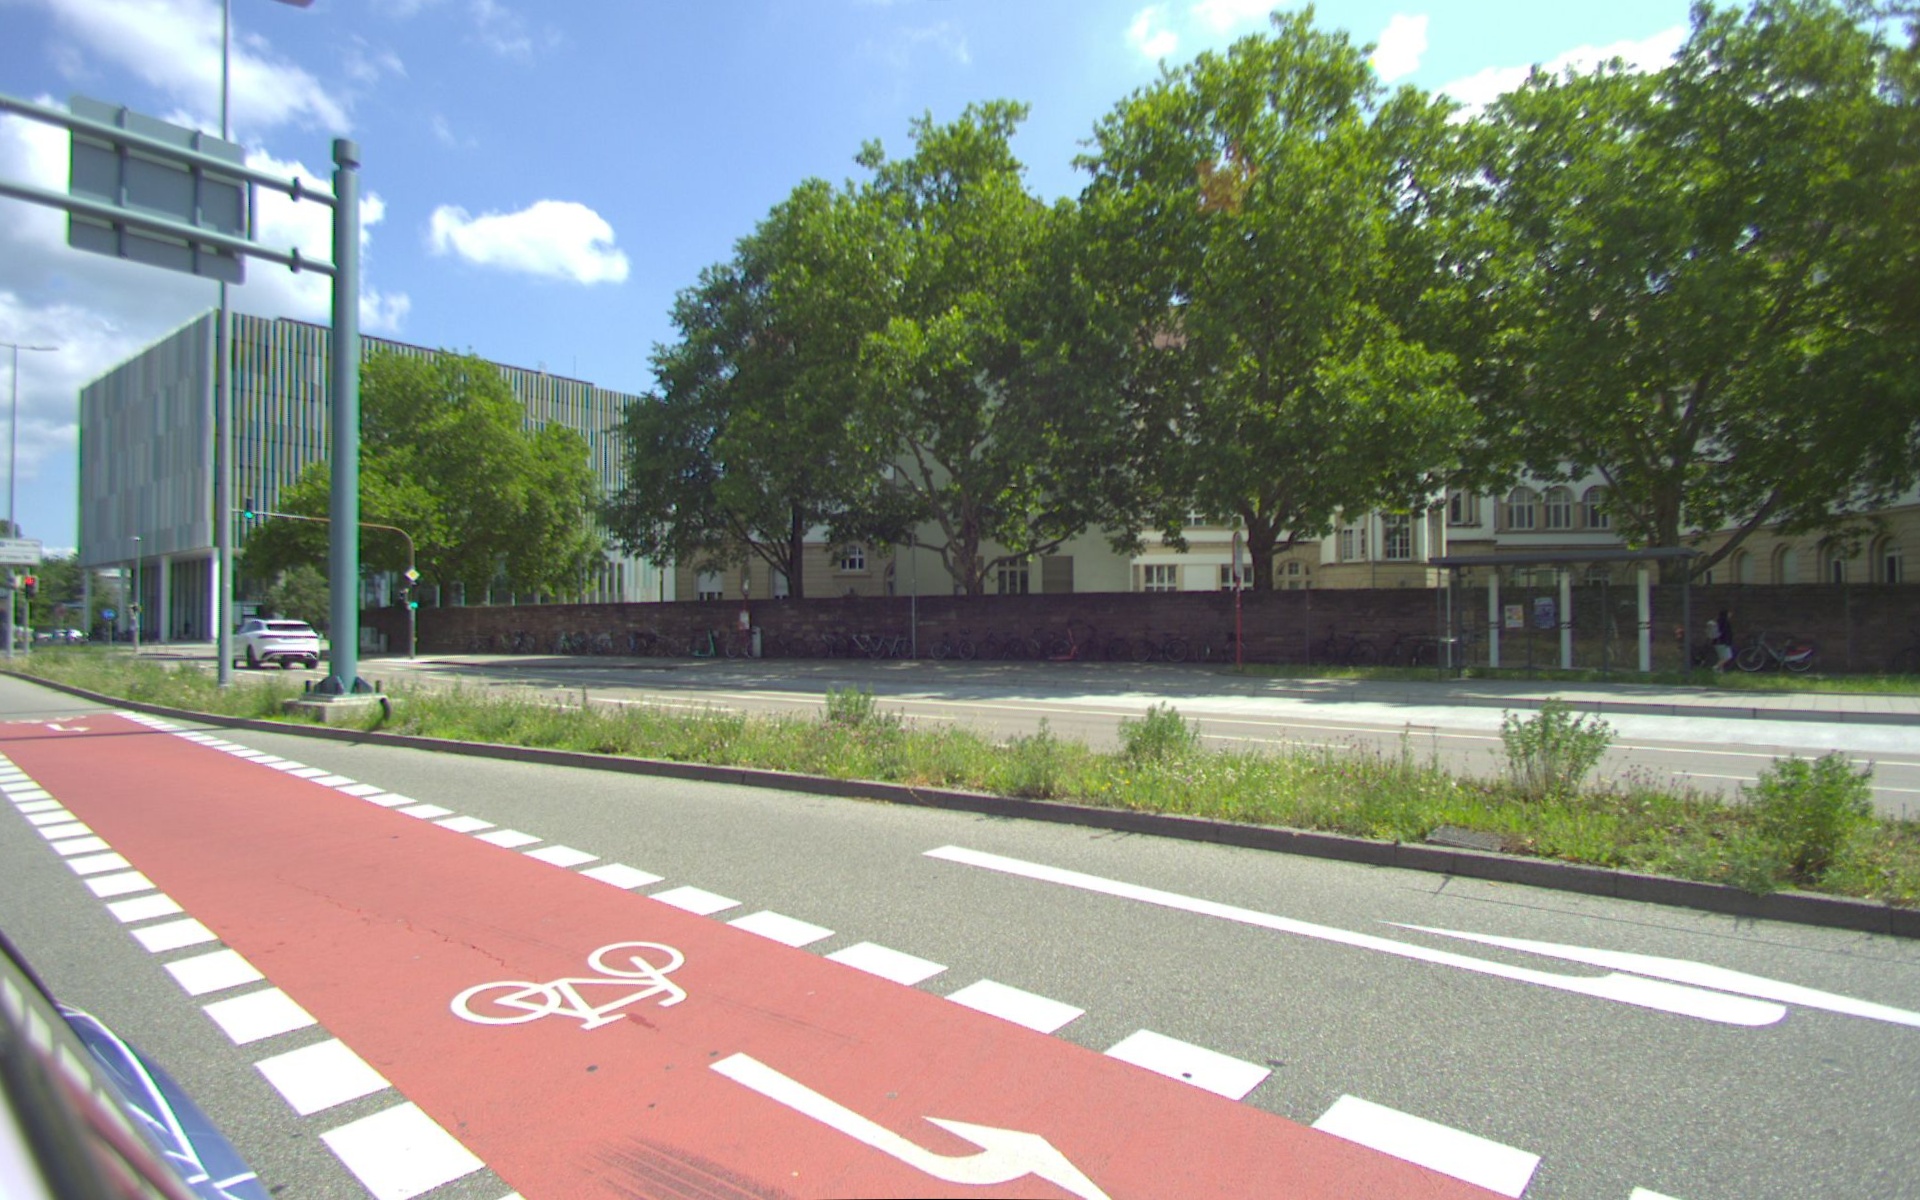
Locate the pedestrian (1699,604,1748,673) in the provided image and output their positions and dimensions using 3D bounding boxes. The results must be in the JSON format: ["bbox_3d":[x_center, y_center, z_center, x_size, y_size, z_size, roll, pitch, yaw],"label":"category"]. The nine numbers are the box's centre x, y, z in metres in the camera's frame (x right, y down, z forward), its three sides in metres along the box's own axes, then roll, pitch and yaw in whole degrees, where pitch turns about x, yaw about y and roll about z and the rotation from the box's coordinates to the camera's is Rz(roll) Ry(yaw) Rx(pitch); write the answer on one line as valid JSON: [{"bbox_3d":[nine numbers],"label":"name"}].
[{"bbox_3d":[18.479,0.922,24.498,0.752,1.629,0.612,-1,-1,20],"label":"pedestrian"}]

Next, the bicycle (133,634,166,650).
[{"bbox_3d":[-78.495,4.062,98.078,2.473,1.506,0.731,1,-2,-39],"label":"bicycle"}]

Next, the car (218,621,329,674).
[{"bbox_3d":[-23.415,1.590,34.436,4.774,1.680,2.049,-2,-2,42],"label":"car"}]

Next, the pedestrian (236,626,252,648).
[{"bbox_3d":[-62.300,3.223,88.018,0.955,1.940,0.882,0,-1,-23],"label":"pedestrian"}]

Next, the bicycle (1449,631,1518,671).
[{"bbox_3d":[14.249,1.376,27.583,1.614,1.059,0.541,-1,-2,24],"label":"bicycle"}]

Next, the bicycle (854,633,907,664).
[{"bbox_3d":[-2.782,1.696,35.407,1.887,1.055,0.540,-1,-2,29],"label":"bicycle"}]

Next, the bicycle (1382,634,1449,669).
[{"bbox_3d":[12.721,1.438,28.293,1.655,0.959,0.541,-1,-2,24],"label":"bicycle"}]

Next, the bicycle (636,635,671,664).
[{"bbox_3d":[-12.455,2.005,41.130,1.587,1.161,0.398,-2,-2,30],"label":"bicycle"}]

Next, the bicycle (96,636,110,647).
[{"bbox_3d":[-77.706,3.760,91.733,2.163,1.006,0.638,-2,-2,42],"label":"bicycle"}]

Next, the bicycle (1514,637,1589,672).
[{"bbox_3d":[15.912,1.453,27.248,1.653,0.909,0.541,-1,-2,21],"label":"bicycle"}]

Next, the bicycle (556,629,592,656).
[{"bbox_3d":[-16.688,1.844,43.754,1.581,1.161,0.400,-1,-2,18],"label":"bicycle"}]

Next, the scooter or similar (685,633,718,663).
[{"bbox_3d":[-9.920,1.846,38.869,1.184,1.161,0.430,-1,-2,20],"label":"scooter or similar"}]

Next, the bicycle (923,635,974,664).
[{"bbox_3d":[-0.397,1.657,34.005,1.658,0.956,0.540,-1,-2,29],"label":"bicycle"}]

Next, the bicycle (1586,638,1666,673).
[{"bbox_3d":[17.526,1.453,26.670,1.653,0.909,0.541,-1,-2,21],"label":"bicycle"}]

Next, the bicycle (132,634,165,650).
[{"bbox_3d":[-77.915,4.047,97.206,0.621,1.506,2.420,-2,-2,41],"label":"bicycle"}]

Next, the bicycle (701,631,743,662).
[{"bbox_3d":[-9.251,1.809,39.325,1.582,1.161,0.530,-1,-2,19],"label":"bicycle"}]

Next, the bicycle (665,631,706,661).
[{"bbox_3d":[-10.875,1.822,40.096,1.582,1.161,0.530,-1,-2,19],"label":"bicycle"}]

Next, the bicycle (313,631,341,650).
[{"bbox_3d":[-53.520,3.425,85.596,0.983,1.564,3.423,0,-2,-13],"label":"bicycle"}]

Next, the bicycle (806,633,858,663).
[{"bbox_3d":[-4.630,1.740,36.555,1.941,1.055,0.540,-1,-2,29],"label":"bicycle"}]

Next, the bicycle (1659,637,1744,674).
[{"bbox_3d":[19.120,1.424,26.125,1.653,0.909,0.541,-1,-2,21],"label":"bicycle"}]

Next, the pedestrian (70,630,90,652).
[{"bbox_3d":[-68.053,3.153,78.272,0.876,1.641,0.961,-1,-2,33],"label":"pedestrian"}]

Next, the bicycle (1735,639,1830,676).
[{"bbox_3d":[20.831,1.447,25.661,1.781,0.909,0.450,-1,-2,21],"label":"bicycle"}]

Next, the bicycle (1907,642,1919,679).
[{"bbox_3d":[24.194,1.468,24.565,1.653,0.909,0.541,-1,-2,21],"label":"bicycle"}]

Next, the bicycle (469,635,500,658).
[{"bbox_3d":[-22.451,2.192,47.817,1.589,1.107,0.567,-2,-2,33],"label":"bicycle"}]

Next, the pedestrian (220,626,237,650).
[{"bbox_3d":[-61.087,3.173,84.551,0.955,1.940,0.882,0,-1,-20],"label":"pedestrian"}]

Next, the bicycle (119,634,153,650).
[{"bbox_3d":[-80.901,4.085,99.381,0.621,1.506,2.479,-2,-2,41],"label":"bicycle"}]

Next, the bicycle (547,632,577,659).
[{"bbox_3d":[-17.614,2.018,44.779,1.591,1.161,0.409,-2,-2,36],"label":"bicycle"}]

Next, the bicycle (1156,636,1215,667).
[{"bbox_3d":[6.848,1.566,30.790,1.656,0.909,0.540,-1,-2,26],"label":"bicycle"}]

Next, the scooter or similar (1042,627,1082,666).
[{"bbox_3d":[3.193,1.451,31.715,1.184,1.192,0.430,-1,-2,20],"label":"scooter or similar"}]

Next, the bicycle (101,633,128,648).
[{"bbox_3d":[-88.101,4.195,105.465,0.621,1.506,2.044,-2,-2,41],"label":"bicycle"}]

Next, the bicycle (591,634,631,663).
[{"bbox_3d":[-14.610,2.027,42.381,1.576,1.161,0.401,-1,-2,8],"label":"bicycle"}]

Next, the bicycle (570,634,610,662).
[{"bbox_3d":[-15.734,2.038,43.031,1.576,1.161,0.401,-1,-2,8],"label":"bicycle"}]

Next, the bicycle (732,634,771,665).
[{"bbox_3d":[-7.951,1.880,38.537,1.587,1.151,0.429,-2,-2,29],"label":"bicycle"}]

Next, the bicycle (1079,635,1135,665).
[{"bbox_3d":[4.606,1.568,31.743,1.658,0.909,0.540,-1,-2,29],"label":"bicycle"}]

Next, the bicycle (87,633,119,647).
[{"bbox_3d":[-91.094,4.233,107.614,0.621,1.506,2.479,-2,-2,41],"label":"bicycle"}]

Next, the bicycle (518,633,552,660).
[{"bbox_3d":[-19.151,2.096,45.597,1.589,1.161,0.616,-2,-2,33],"label":"bicycle"}]

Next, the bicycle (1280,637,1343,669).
[{"bbox_3d":[10.178,1.531,29.316,1.656,0.909,0.540,-1,-2,26],"label":"bicycle"}]

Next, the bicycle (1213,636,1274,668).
[{"bbox_3d":[8.360,1.535,29.874,1.663,0.909,0.497,-2,-2,38],"label":"bicycle"}]

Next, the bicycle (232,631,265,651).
[{"bbox_3d":[-59.857,3.458,85.148,0.797,1.656,3.421,0,-2,-8],"label":"bicycle"}]

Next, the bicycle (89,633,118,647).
[{"bbox_3d":[-91.766,4.248,108.474,0.621,1.506,2.300,-2,-2,41],"label":"bicycle"}]

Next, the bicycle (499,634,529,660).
[{"bbox_3d":[-20.520,2.165,46.551,1.589,1.161,0.495,-2,-2,33],"label":"bicycle"}]

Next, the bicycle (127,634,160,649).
[{"bbox_3d":[-81.110,4.107,100.527,0.621,1.506,2.479,-2,-2,41],"label":"bicycle"}]

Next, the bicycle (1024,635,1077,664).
[{"bbox_3d":[2.911,1.586,32.613,1.658,0.909,0.540,-1,-2,29],"label":"bicycle"}]

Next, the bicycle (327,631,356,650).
[{"bbox_3d":[-52.296,3.430,85.617,0.983,1.564,3.423,0,-2,-13],"label":"bicycle"}]

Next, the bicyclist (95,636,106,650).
[{"bbox_3d":[-77.753,3.899,91.589,0.833,1.235,0.610,-2,-2,39],"label":"bicyclist"}]

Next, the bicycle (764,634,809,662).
[{"bbox_3d":[-6.470,1.788,37.656,1.795,1.016,0.476,-2,-2,32],"label":"bicycle"}]

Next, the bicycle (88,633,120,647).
[{"bbox_3d":[-90.309,4.218,106.820,0.621,1.506,2.479,-2,-2,41],"label":"bicycle"}]

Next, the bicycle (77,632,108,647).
[{"bbox_3d":[-94.093,4.272,109.784,0.621,1.506,2.479,-2,-2,41],"label":"bicycle"}]
